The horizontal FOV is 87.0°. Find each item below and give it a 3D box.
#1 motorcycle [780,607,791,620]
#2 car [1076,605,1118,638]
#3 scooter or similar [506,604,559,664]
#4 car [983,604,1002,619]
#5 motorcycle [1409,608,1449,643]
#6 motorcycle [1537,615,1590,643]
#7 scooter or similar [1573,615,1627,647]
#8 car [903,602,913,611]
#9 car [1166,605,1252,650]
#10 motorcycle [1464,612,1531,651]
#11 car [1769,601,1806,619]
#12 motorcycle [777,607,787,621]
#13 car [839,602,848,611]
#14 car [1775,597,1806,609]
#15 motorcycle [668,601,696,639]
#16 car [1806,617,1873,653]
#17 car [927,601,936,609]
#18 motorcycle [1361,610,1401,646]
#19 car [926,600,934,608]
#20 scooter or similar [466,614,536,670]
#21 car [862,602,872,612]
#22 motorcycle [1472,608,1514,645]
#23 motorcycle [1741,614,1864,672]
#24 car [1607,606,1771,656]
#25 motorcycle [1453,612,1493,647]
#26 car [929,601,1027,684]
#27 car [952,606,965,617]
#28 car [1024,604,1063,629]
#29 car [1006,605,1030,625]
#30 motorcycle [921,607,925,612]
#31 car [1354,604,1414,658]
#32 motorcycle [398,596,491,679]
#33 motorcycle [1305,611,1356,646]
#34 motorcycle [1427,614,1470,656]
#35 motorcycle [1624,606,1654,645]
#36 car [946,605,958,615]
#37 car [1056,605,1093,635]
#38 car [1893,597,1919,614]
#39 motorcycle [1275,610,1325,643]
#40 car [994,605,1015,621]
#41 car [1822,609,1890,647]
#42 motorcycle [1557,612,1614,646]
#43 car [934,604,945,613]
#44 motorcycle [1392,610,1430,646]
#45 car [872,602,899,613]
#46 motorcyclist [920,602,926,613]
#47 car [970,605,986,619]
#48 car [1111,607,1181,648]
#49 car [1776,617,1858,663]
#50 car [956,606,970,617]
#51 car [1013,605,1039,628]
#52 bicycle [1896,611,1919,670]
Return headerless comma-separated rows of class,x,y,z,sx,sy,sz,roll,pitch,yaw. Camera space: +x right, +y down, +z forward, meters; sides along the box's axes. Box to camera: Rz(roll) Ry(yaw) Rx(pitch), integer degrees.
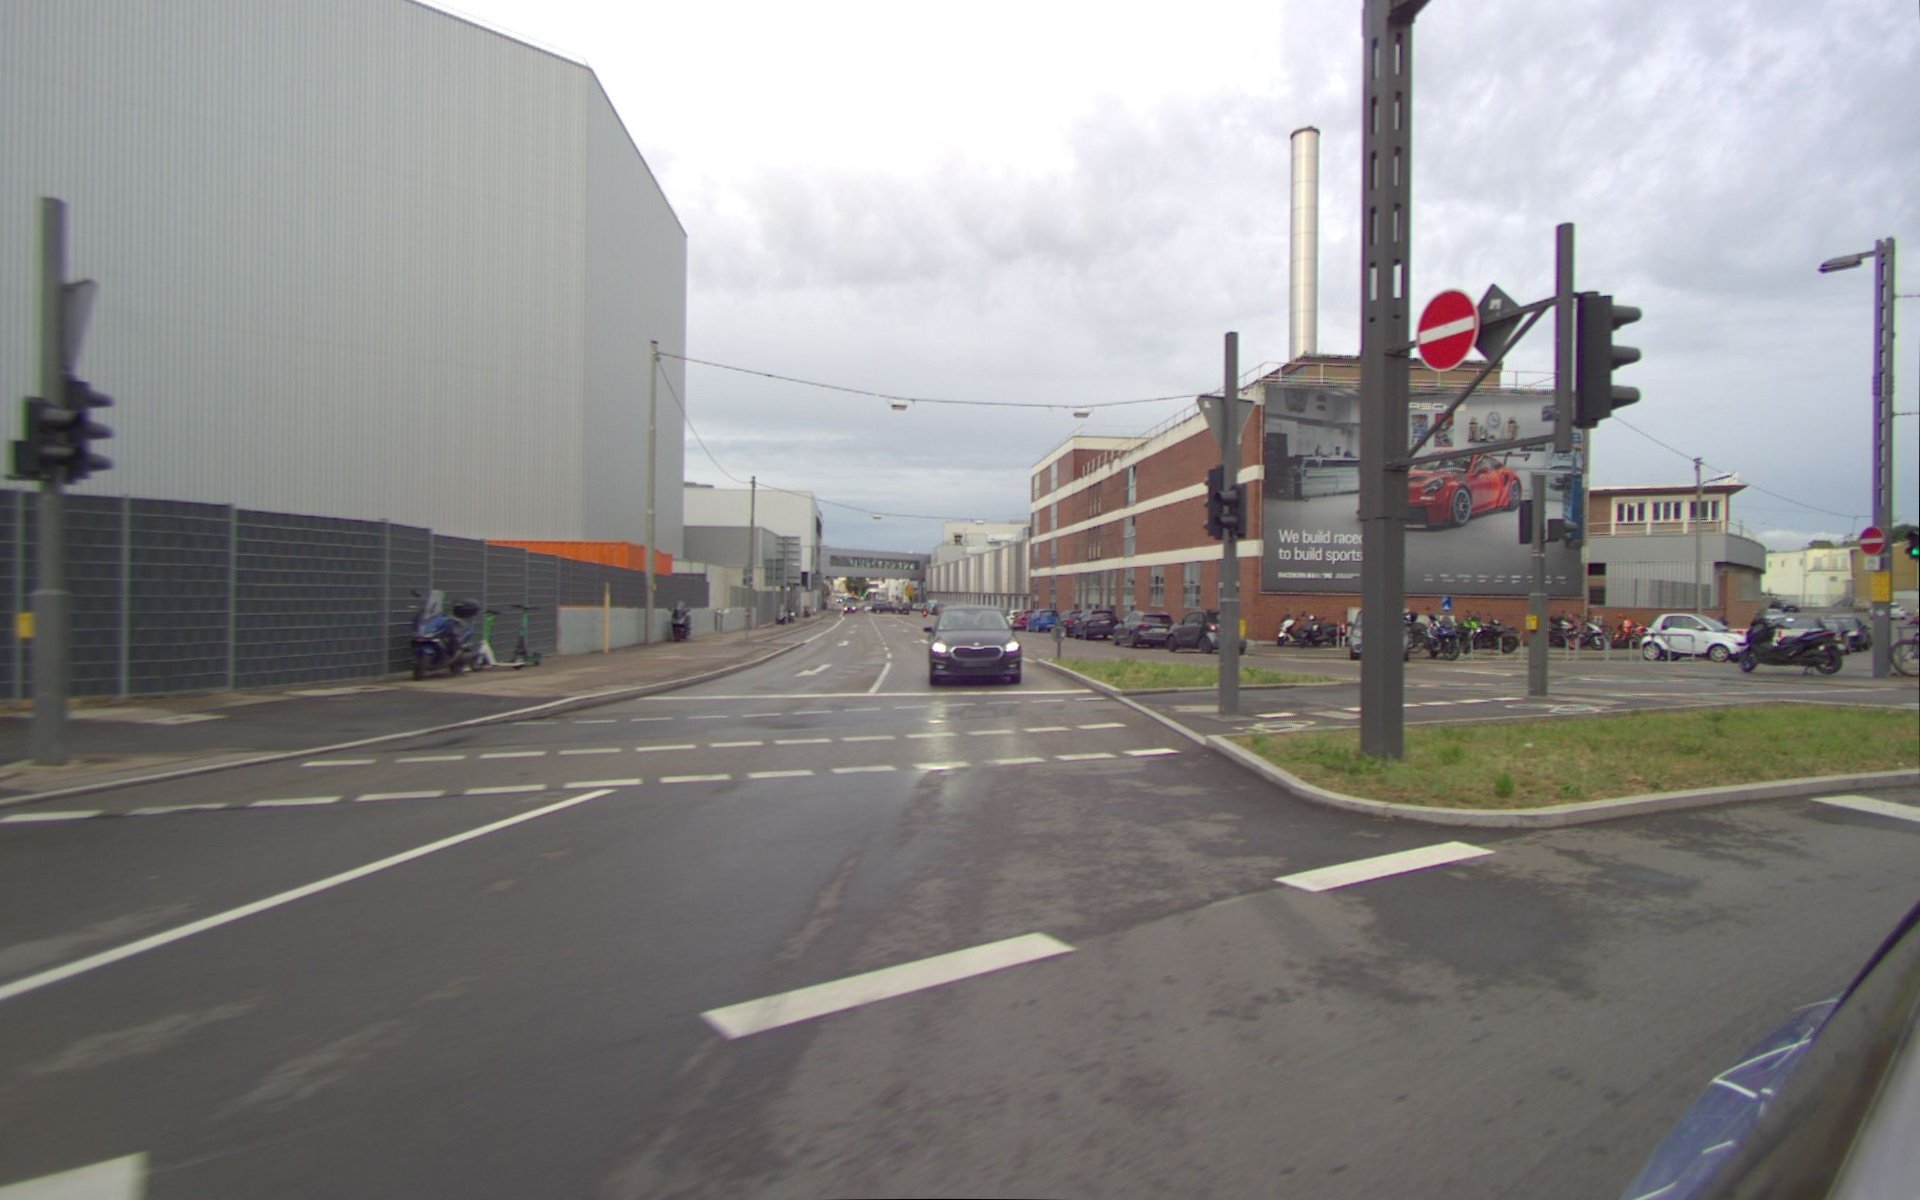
motorcycle,-15.265,1.164,88.373,0.554,1.146,1.931,0,0,-22
car,6.747,1.016,50.081,1.431,1.461,3.467,-2,1,-3
scooter or similar,-8.948,0.705,21.224,0.418,1.215,1.267,0,-1,9
car,2.921,1.046,92.147,1.431,1.256,3.373,-2,1,-3
motorcycle,16.718,0.894,36.094,0.534,1.195,1.714,-2,0,-2
motorcycle,22.010,1.052,36.924,0.530,0.985,1.619,-2,0,-26
scooter or similar,23.870,1.148,37.758,0.494,1.110,1.641,-2,0,-26
car,-7.618,0.975,148.909,1.431,1.256,3.373,-2,1,-3
car,8.722,0.950,35.608,1.522,1.512,2.756,2,-1,-25
motorcycle,16.858,0.974,31.758,1.828,1.125,0.545,-2,0,-5
car,70.693,0.827,86.511,1.704,1.444,3.961,-1,0,28
motorcycle,-14.499,1.126,82.550,0.555,1.089,1.928,0,0,-1
car,-20.053,1.094,174.533,1.582,1.579,4.004,0,0,-6
car,97.666,0.358,119.047,1.702,1.444,3.967,-1,0,24
motorcycle,-10.504,0.734,38.334,0.642,1.395,2.102,0,-1,-5
car,38.522,1.487,44.317,3.931,1.444,1.718,0,0,-41
car,-4.777,0.867,168.133,1.431,1.256,3.373,-2,1,-3
motorcycle,14.910,0.991,35.881,0.662,1.195,1.649,-2,0,-2
car,-5.389,0.742,180.410,1.431,1.256,3.373,-2,1,-3
scooter or similar,-8.813,0.783,19.462,0.382,1.042,1.258,0,-1,28
car,-15.321,1.128,166.500,1.582,1.579,4.004,0,0,-6
motorcycle,19.150,0.934,36.397,0.534,1.254,1.808,0,0,-2
motorcycle,18.613,0.922,22.423,0.478,1.160,2.099,-2,0,-20
car,23.515,0.957,32.786,1.537,1.508,4.002,0,0,-32
motorcycle,18.057,1.028,35.672,0.468,1.133,1.809,-2,1,0
car,0.254,0.743,19.659,1.687,1.444,4.001,0,0,-2
car,-0.173,1.382,124.996,1.431,1.256,3.373,-2,1,-3
car,5.384,1.068,65.581,1.662,1.461,3.394,-2,1,-10
car,4.385,1.111,76.538,1.431,1.393,3.391,-2,1,-3
motorcycle,-4.897,1.226,133.125,0.555,0.678,2.228,-2,1,-3
car,12.924,0.895,30.833,1.607,1.522,3.221,0,0,23
motorcycle,-8.686,0.604,17.155,0.642,1.327,2.102,0,-1,-5
motorcycle,13.203,1.012,36.082,1.573,1.134,0.544,-2,0,3
motorcycle,14.549,1.024,30.193,0.486,1.160,1.722,-2,0,4
motorcycle,25.674,0.952,38.260,1.641,1.350,0.523,-3,0,-42
car,-1.130,1.314,135.049,1.431,1.256,3.373,-2,1,-3
car,6.197,1.061,55.093,1.431,1.461,3.391,-2,1,-3
car,85.014,0.466,89.100,3.973,1.444,1.699,0,0,35
motorcycle,12.554,0.962,37.367,1.618,1.125,0.544,-2,0,3
car,3.727,1.092,85.856,1.431,1.256,3.373,-2,1,-3
car,43.326,1.318,48.909,4.424,1.688,1.782,0,0,-39
motorcycle,23.120,1.054,37.438,0.573,1.166,1.723,-2,0,-26
car,-3.020,1.202,150.359,1.431,1.256,3.373,-2,1,-3
motorcycle,15.989,0.966,35.923,0.534,1.195,1.649,-2,0,-2
car,-11.157,1.090,150.747,3.918,1.579,1.617,0,0,-8
motorcyclist,-4.932,1.042,133.160,0.721,1.391,1.020,-2,0,-2
car,1.814,1.209,103.494,1.431,1.256,3.373,-2,1,-3
car,7.469,1.056,41.011,1.536,1.461,4.111,-2,1,-7
car,33.510,1.515,39.520,4.431,1.570,1.886,0,0,-42
car,0.363,1.337,118.679,1.431,1.256,3.373,-2,1,-3
car,4.604,1.136,70.828,1.431,1.461,3.391,-2,1,-3
bicycle,19.931,0.780,20.143,2.037,1.144,0.421,-2,0,6
